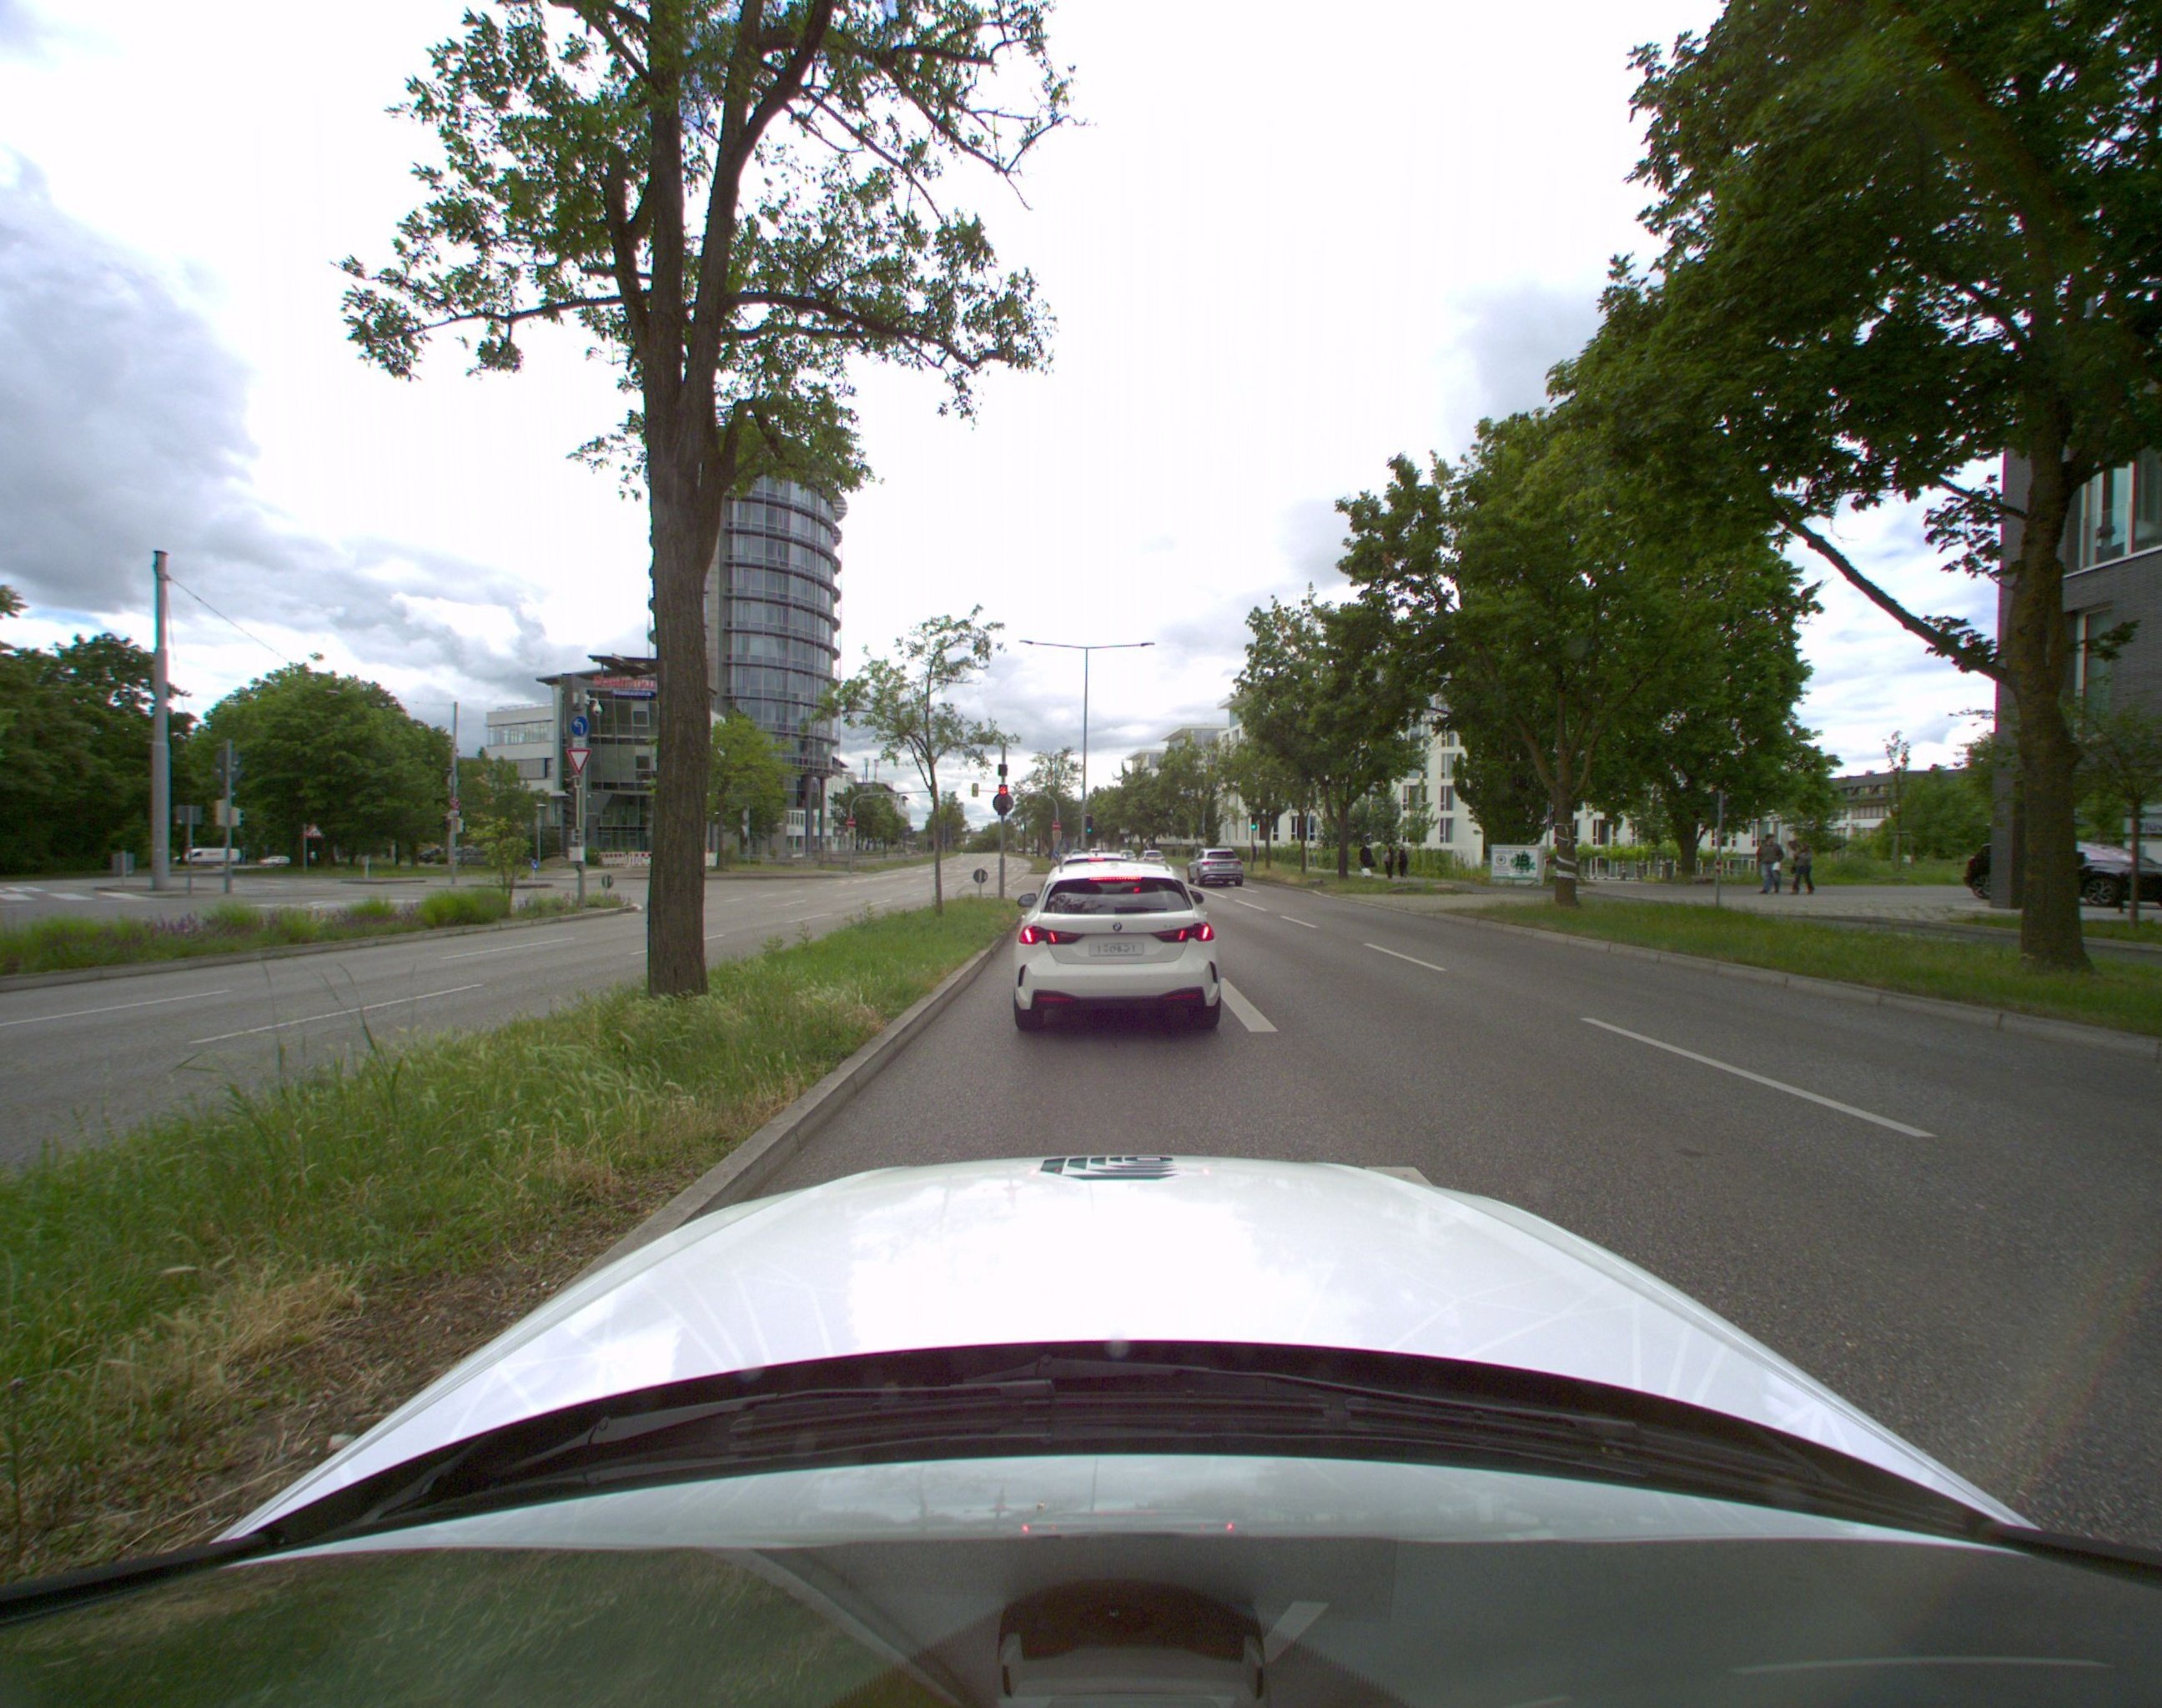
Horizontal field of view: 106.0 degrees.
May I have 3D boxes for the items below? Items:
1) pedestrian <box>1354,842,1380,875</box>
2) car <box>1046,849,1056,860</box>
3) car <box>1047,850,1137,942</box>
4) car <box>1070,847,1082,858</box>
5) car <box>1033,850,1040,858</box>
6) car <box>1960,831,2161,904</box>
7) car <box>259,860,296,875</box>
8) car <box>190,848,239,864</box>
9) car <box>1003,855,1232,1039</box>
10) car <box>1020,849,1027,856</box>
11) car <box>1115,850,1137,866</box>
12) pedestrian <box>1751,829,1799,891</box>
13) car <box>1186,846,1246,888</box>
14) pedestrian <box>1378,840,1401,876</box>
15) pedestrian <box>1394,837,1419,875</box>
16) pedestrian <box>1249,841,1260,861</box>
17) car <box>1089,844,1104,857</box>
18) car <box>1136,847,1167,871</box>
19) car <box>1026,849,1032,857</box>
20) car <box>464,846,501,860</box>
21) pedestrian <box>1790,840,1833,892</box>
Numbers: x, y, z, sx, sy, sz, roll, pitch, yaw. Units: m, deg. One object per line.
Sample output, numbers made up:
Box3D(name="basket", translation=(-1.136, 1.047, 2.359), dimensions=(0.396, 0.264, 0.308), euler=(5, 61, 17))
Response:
Box3D(name="pedestrian", translation=(12.811, 0.207, 36.457), dimensions=(0.786, 1.448, 1.112), euler=(0, -1, 1))
Box3D(name="car", translation=(-4.776, 0.095, 130.697), dimensions=(1.597, 1.666, 3.997), euler=(0, 0, -2))
Box3D(name="car", translation=(0.248, 0.713, 15.979), dimensions=(1.544, 1.569, 4.002), euler=(0, 0, 2))
Box3D(name="car", translation=(-0.679, -0.259, 121.702), dimensions=(1.733, 1.666, 4.000), euler=(0, 0, 0))
Box3D(name="car", translation=(-11.431, -0.114, 210.352), dimensions=(1.834, 2.014, 3.994), euler=(0, -1, -4))
Box3D(name="car", translation=(24.897, 0.298, 20.227), dimensions=(1.749, 1.646, 4.151), euler=(0, 0, 2))
Box3D(name="car", translation=(-115.949, 1.942, 117.495), dimensions=(3.965, 2.013, 1.727), euler=(0, 0, 7))
Box3D(name="car", translation=(-128.875, 0.255, 121.182), dimensions=(1.978, 2.339, 4.570), euler=(-1, -1, 16))
Box3D(name="car", translation=(0.355, 0.741, 8.451), dimensions=(1.815, 1.438, 4.002), euler=(0, 0, 2))
Box3D(name="car", translation=(-15.426, -0.390, 216.987), dimensions=(1.834, 2.014, 3.994), euler=(0, -1, -4))
Box3D(name="car", translation=(4.219, 0.349, 76.983), dimensions=(1.689, 1.486, 3.689), euler=(0, 0, -3))
Box3D(name="pedestrian", translation=(21.524, 0.176, 25.275), dimensions=(0.983, 1.868, 0.952), euler=(0, 0, -38))
Box3D(name="car", translation=(5.834, 0.533, 35.671), dimensions=(1.987, 1.670, 4.000), euler=(-2, 0, 1))
Box3D(name="pedestrian", translation=(13.845, 0.200, 36.607), dimensions=(0.697, 1.595, 0.883), euler=(0, -1, 1))
Box3D(name="pedestrian", translation=(14.696, 0.100, 36.791), dimensions=(0.764, 1.685, 0.883), euler=(0, -1, 1))
Box3D(name="pedestrian", translation=(13.718, -0.256, 64.333), dimensions=(0.739, 1.574, 0.674), euler=(0, -1, 0))
Box3D(name="car", translation=(1.931, -0.428, 101.472), dimensions=(1.597, 1.666, 3.997), euler=(0, 0, -2))
Box3D(name="car", translation=(5.208, 0.352, 60.871), dimensions=(1.692, 1.717, 3.994), euler=(0, 0, -4))
Box3D(name="car", translation=(-15.144, -0.292, 237.563), dimensions=(1.834, 2.014, 3.994), euler=(0, -1, -4))
Box3D(name="car", translation=(-37.360, -0.061, 50.879), dimensions=(0.766, 0.876, 1.730), euler=(0, 0, 38))
Box3D(name="pedestrian", translation=(22.065, 0.351, 24.590), dimensions=(0.880, 1.557, 0.825), euler=(0, 0, -38))
